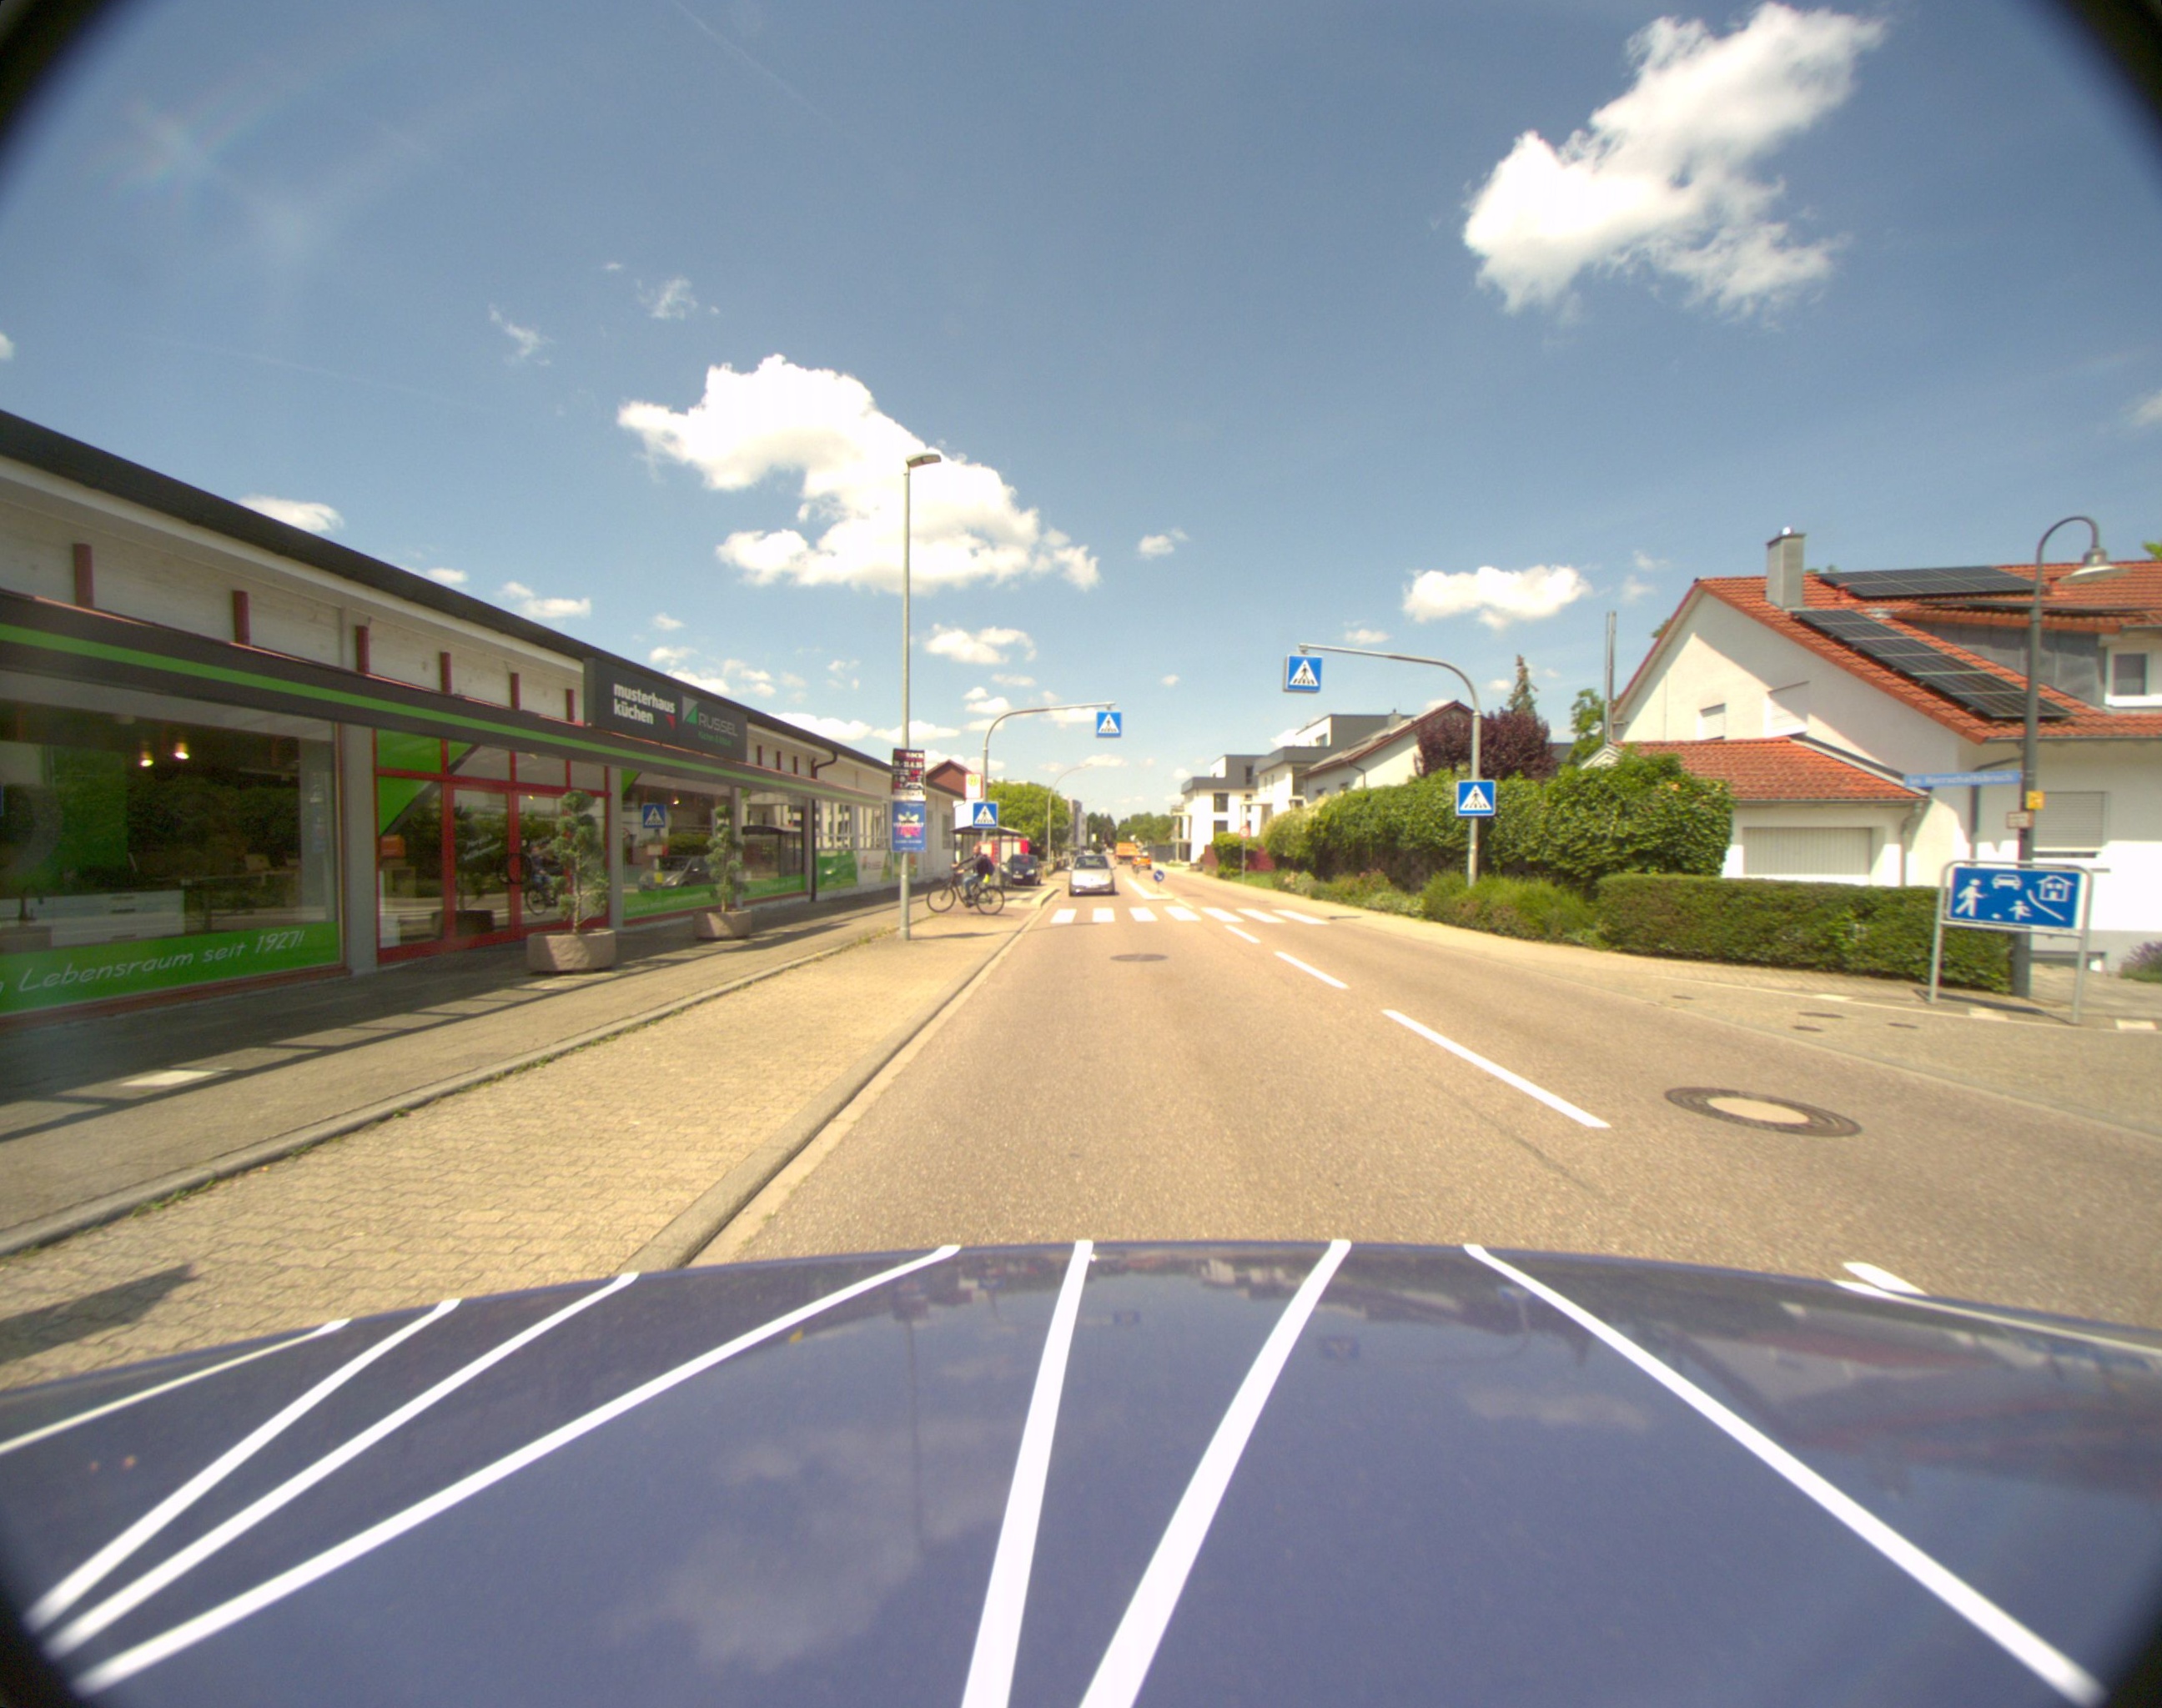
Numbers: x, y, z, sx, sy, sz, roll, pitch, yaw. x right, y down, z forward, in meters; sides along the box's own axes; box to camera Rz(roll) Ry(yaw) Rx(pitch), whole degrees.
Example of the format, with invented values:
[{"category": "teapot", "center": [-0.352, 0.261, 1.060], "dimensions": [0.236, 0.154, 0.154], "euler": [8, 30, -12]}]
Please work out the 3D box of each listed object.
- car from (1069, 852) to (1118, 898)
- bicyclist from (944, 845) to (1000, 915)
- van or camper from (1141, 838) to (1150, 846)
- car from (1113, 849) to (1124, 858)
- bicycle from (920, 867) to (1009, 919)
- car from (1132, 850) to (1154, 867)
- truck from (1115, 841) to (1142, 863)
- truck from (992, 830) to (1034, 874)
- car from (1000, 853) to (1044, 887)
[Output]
[{"category": "car", "center": [0.482, 0.772, 29.475], "dimensions": [1.723, 1.590, 3.760], "euler": [-2, 0, 1]}, {"category": "bicyclist", "center": [-2.637, 0.614, 18.379], "dimensions": [1.113, 1.620, 0.804], "euler": [1, 1, -30]}, {"category": "van or camper", "center": [20.671, -3.797, 241.833], "dimensions": [1.994, 2.217, 4.453], "euler": [2, 1, 15]}, {"category": "car", "center": [6.504, -0.168, 130.889], "dimensions": [1.735, 1.509, 3.613], "euler": [2, 1, 1]}, {"category": "bicycle", "center": [-2.796, 0.919, 18.312], "dimensions": [1.946, 1.158, 0.804], "euler": [1, 1, -30]}, {"category": "car", "center": [5.861, 0.423, 71.812], "dimensions": [1.799, 1.480, 3.613], "euler": [2, 1, 1]}, {"category": "truck", "center": [5.898, -0.291, 95.243], "dimensions": [2.864, 2.695, 6.791], "euler": [2, 1, 1]}, {"category": "truck", "center": [-4.579, -0.157, 51.604], "dimensions": [2.580, 2.745, 6.331], "euler": [1, 1, -5]}, {"category": "car", "center": [-2.773, 0.708, 36.506], "dimensions": [1.729, 1.484, 3.760], "euler": [1, 1, 1]}]
